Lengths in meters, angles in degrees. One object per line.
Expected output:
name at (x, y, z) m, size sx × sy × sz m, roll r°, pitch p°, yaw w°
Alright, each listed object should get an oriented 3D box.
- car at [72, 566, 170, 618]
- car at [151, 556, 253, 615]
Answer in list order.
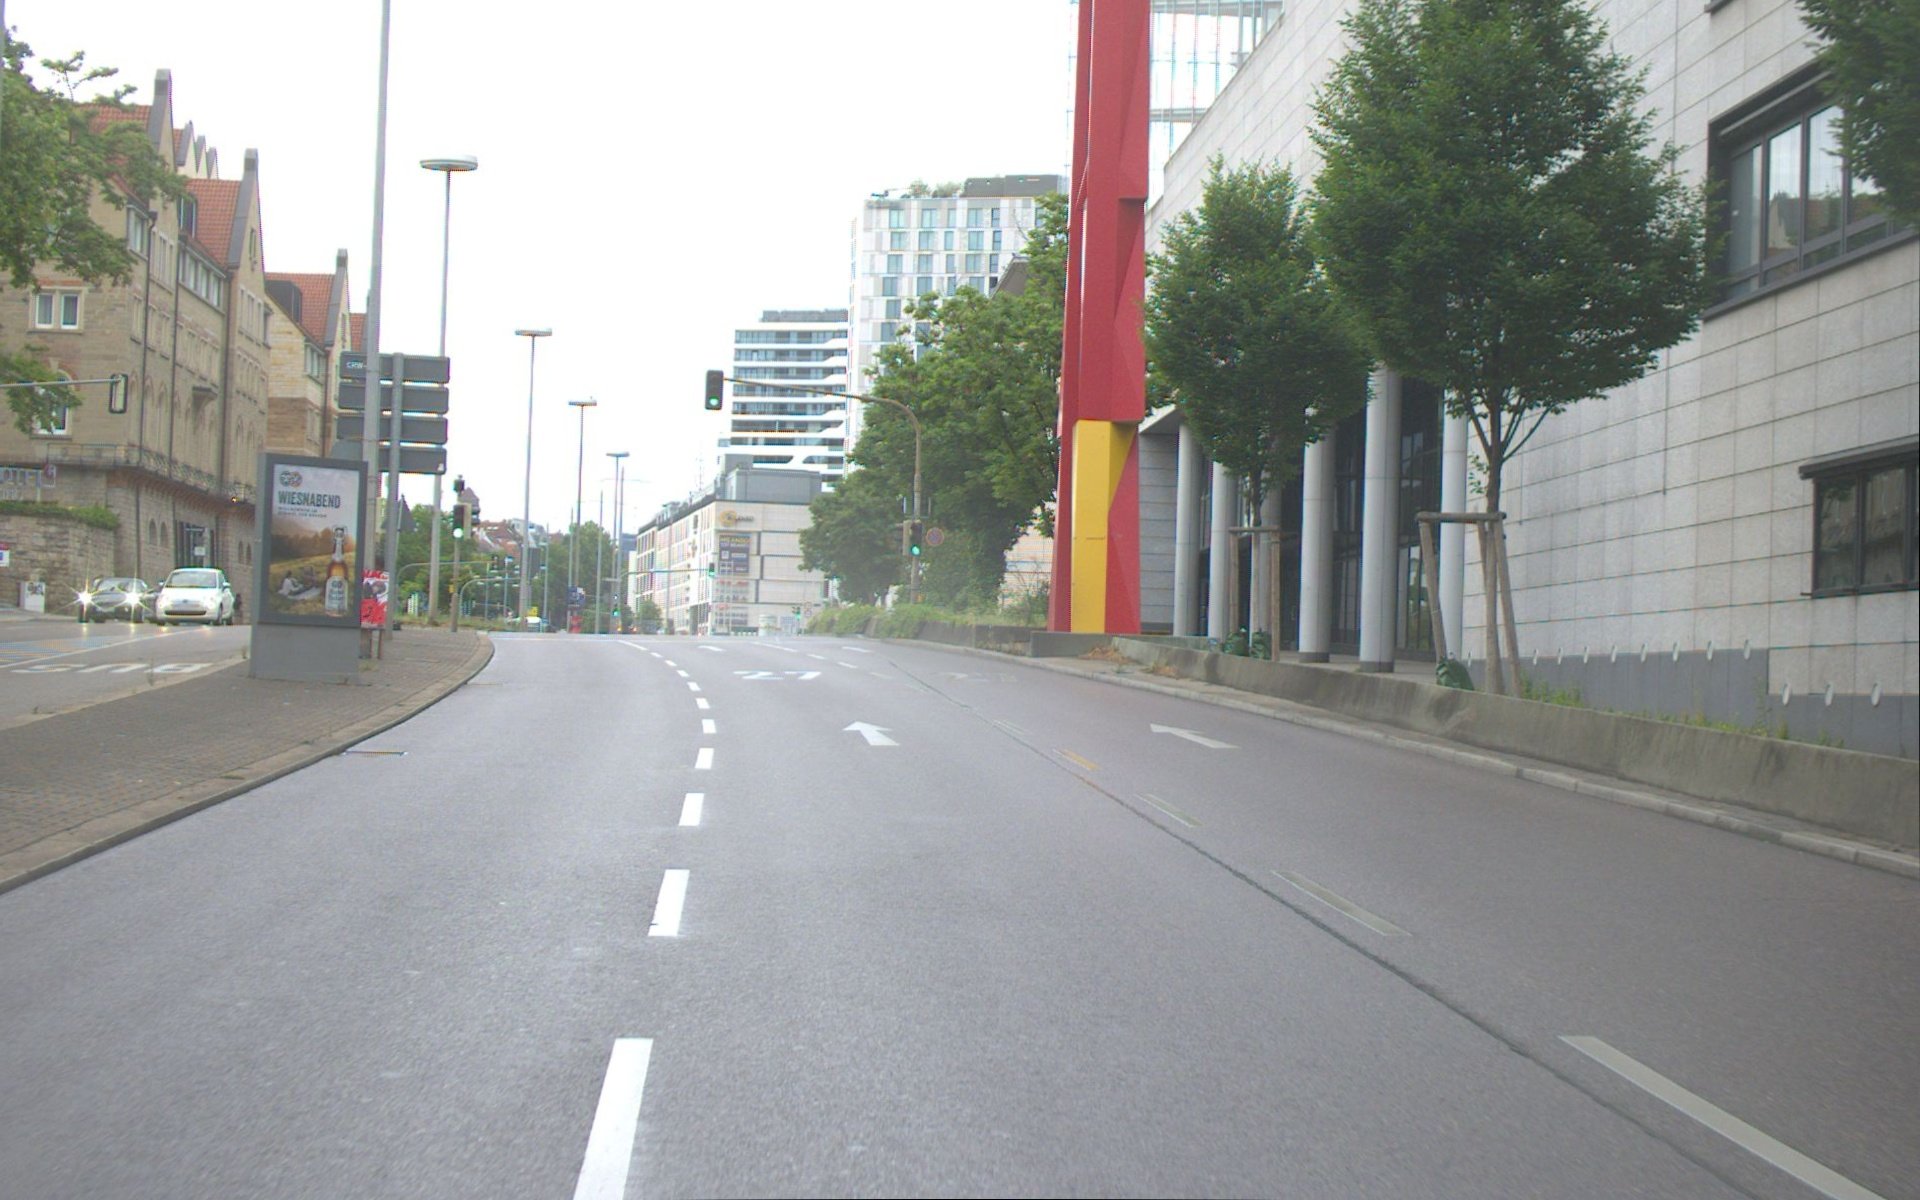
car at (-23.256, -0.212, 95.377) m, size 1.819 × 1.380 × 4.000 m, roll 0°, pitch -1°, yaw -1°
car at (-19.515, -0.349, 88.608) m, size 1.819 × 1.463 × 4.000 m, roll 0°, pitch -1°, yaw -1°
